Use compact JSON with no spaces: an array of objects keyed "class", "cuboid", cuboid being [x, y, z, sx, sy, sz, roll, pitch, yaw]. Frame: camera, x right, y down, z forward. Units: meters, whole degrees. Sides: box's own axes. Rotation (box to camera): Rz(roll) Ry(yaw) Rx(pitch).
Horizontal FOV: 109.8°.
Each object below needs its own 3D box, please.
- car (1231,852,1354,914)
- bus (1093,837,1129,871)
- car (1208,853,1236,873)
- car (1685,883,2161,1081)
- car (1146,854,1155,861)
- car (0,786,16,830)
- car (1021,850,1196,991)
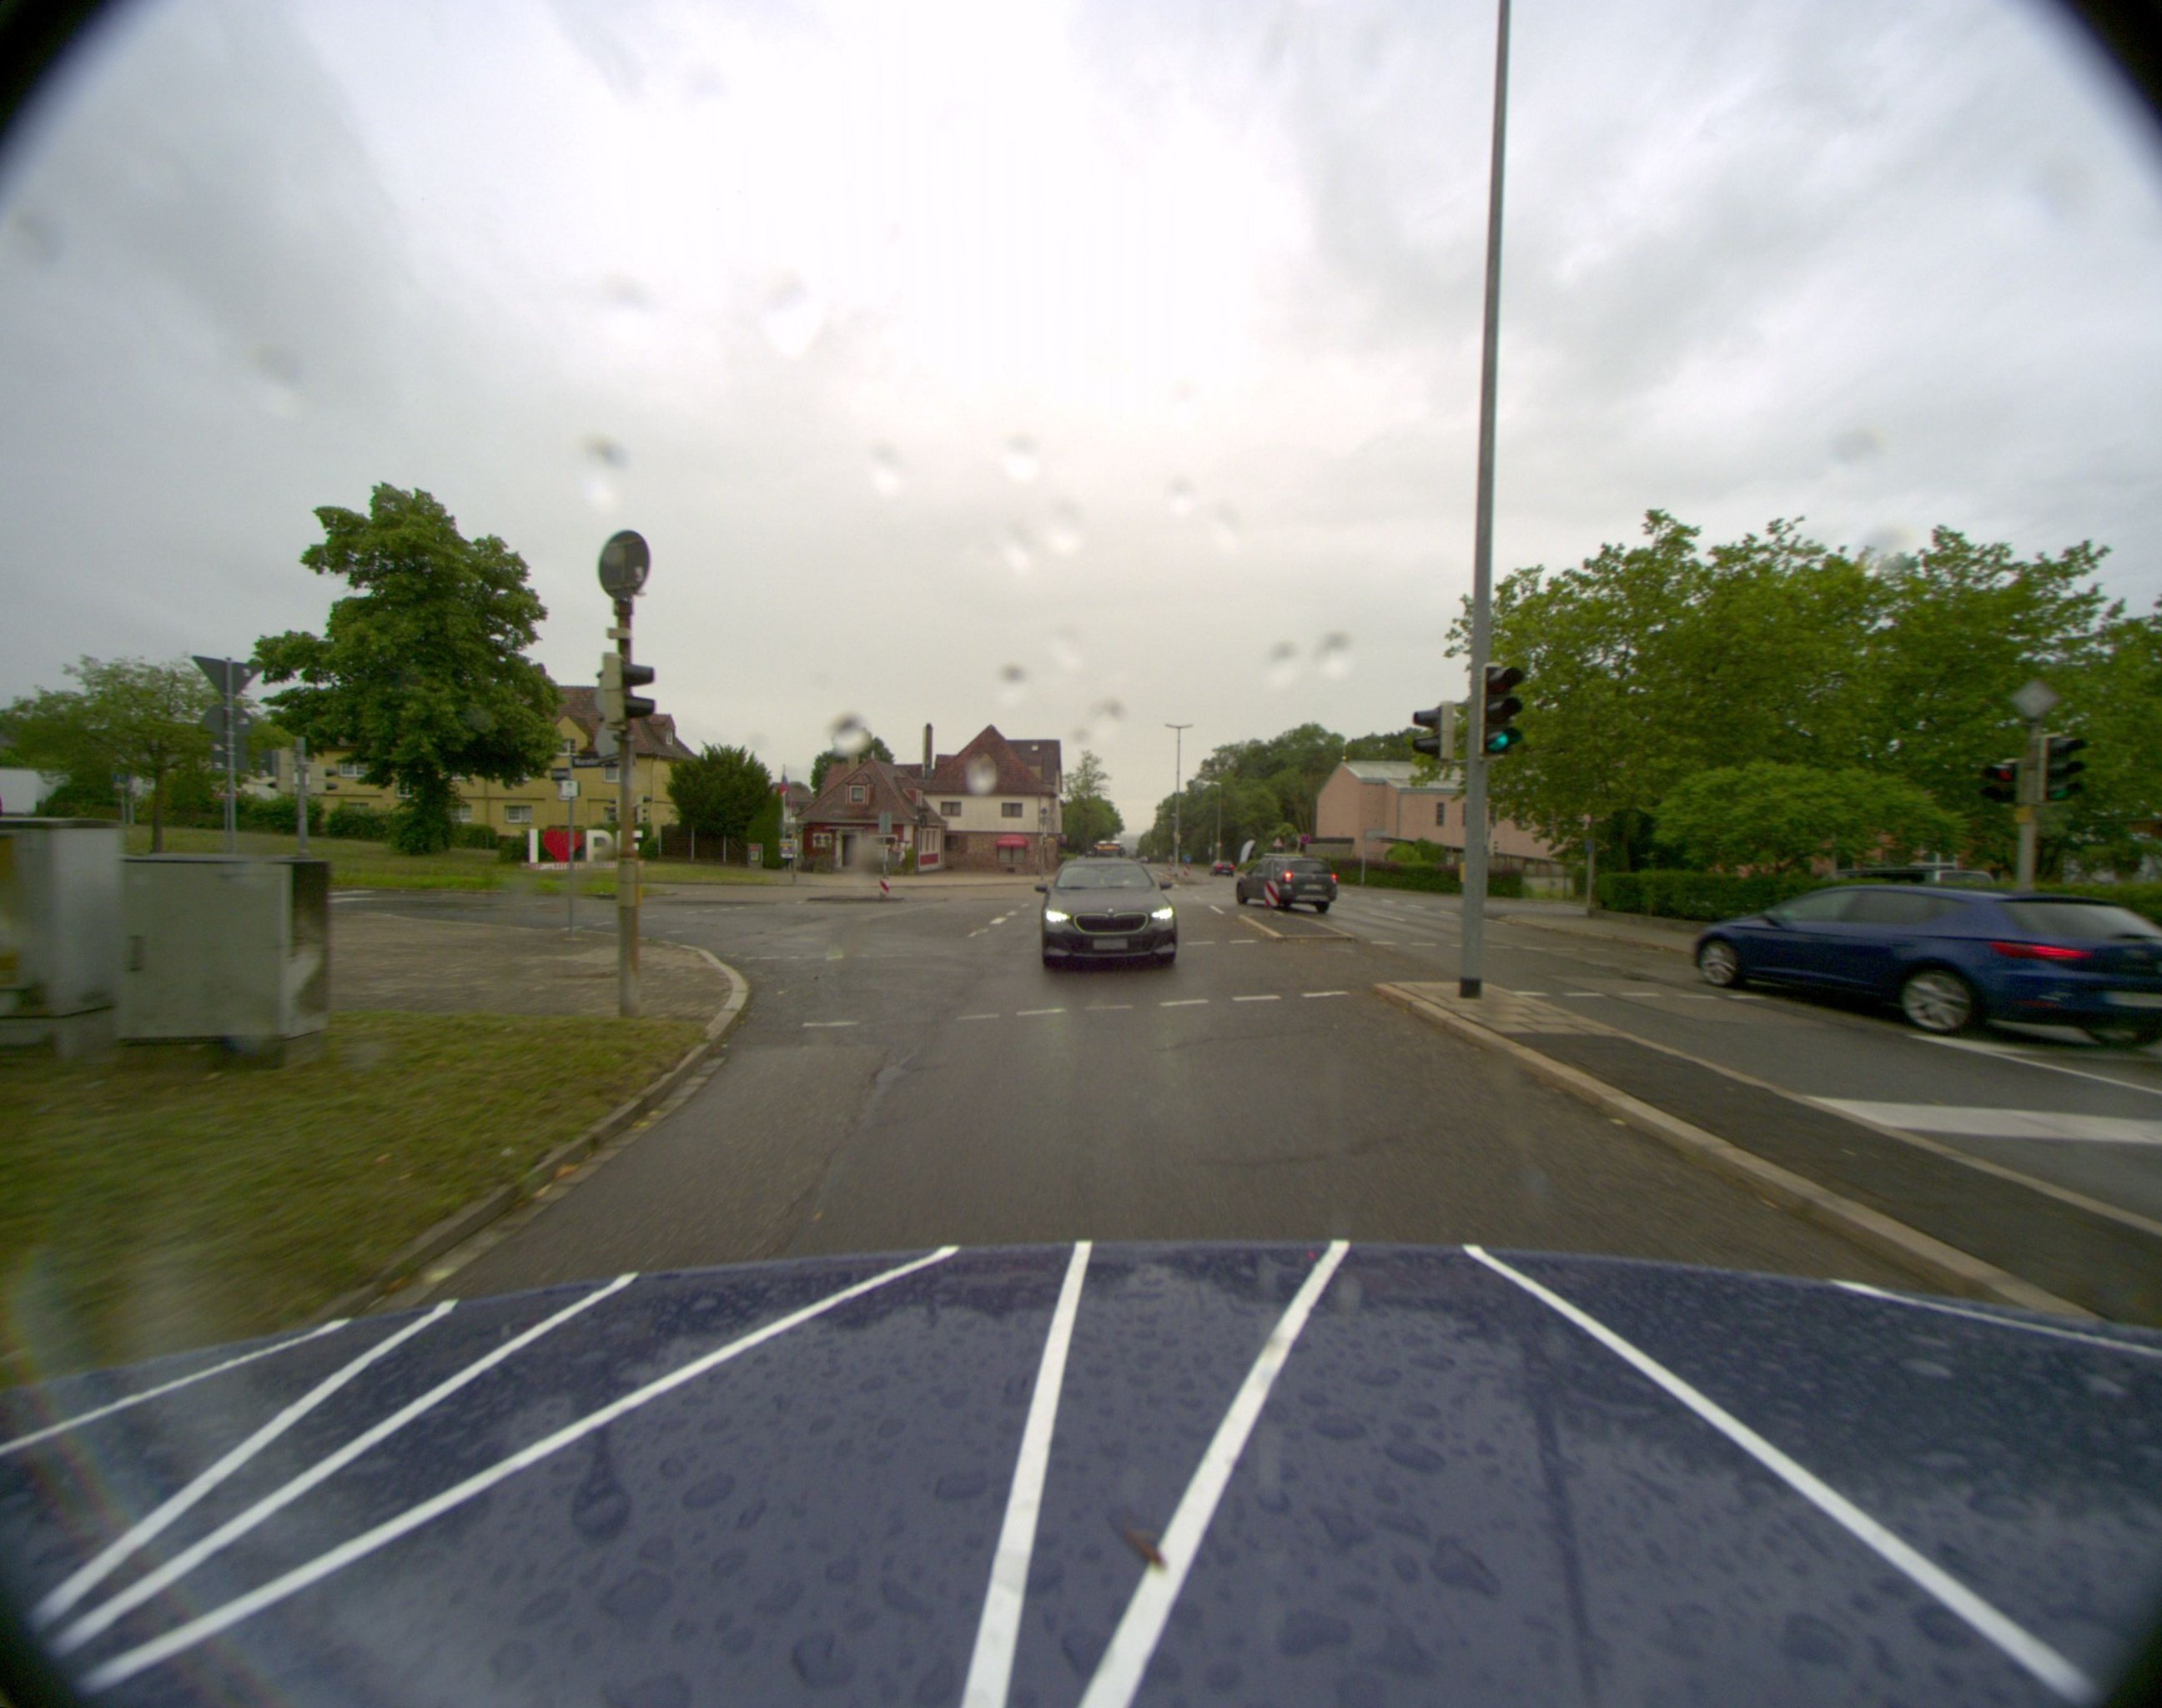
[{"class":"car","cuboid":[6.226,0.800,22.939,2.000,1.652,4.300,2,0,-8]},{"class":"bus","cuboid":[2.629,-0.061,69.109,2.897,2.770,10.385,-1,1,1]},{"class":"car","cuboid":[12.556,0.789,67.885,1.998,1.652,4.305,2,0,4]},{"class":"car","cuboid":[8.957,1.143,8.189,1.771,1.412,4.106,4,0,4]},{"class":"car","cuboid":[17.520,0.867,191.856,1.998,1.652,4.305,2,0,4]},{"class":"car","cuboid":[-50.460,-2.146,34.358,4.262,1.925,2.004,2,0,26]},{"class":"car","cuboid":[0.331,0.792,10.981,1.998,1.586,4.147,-2,0,0]}]
